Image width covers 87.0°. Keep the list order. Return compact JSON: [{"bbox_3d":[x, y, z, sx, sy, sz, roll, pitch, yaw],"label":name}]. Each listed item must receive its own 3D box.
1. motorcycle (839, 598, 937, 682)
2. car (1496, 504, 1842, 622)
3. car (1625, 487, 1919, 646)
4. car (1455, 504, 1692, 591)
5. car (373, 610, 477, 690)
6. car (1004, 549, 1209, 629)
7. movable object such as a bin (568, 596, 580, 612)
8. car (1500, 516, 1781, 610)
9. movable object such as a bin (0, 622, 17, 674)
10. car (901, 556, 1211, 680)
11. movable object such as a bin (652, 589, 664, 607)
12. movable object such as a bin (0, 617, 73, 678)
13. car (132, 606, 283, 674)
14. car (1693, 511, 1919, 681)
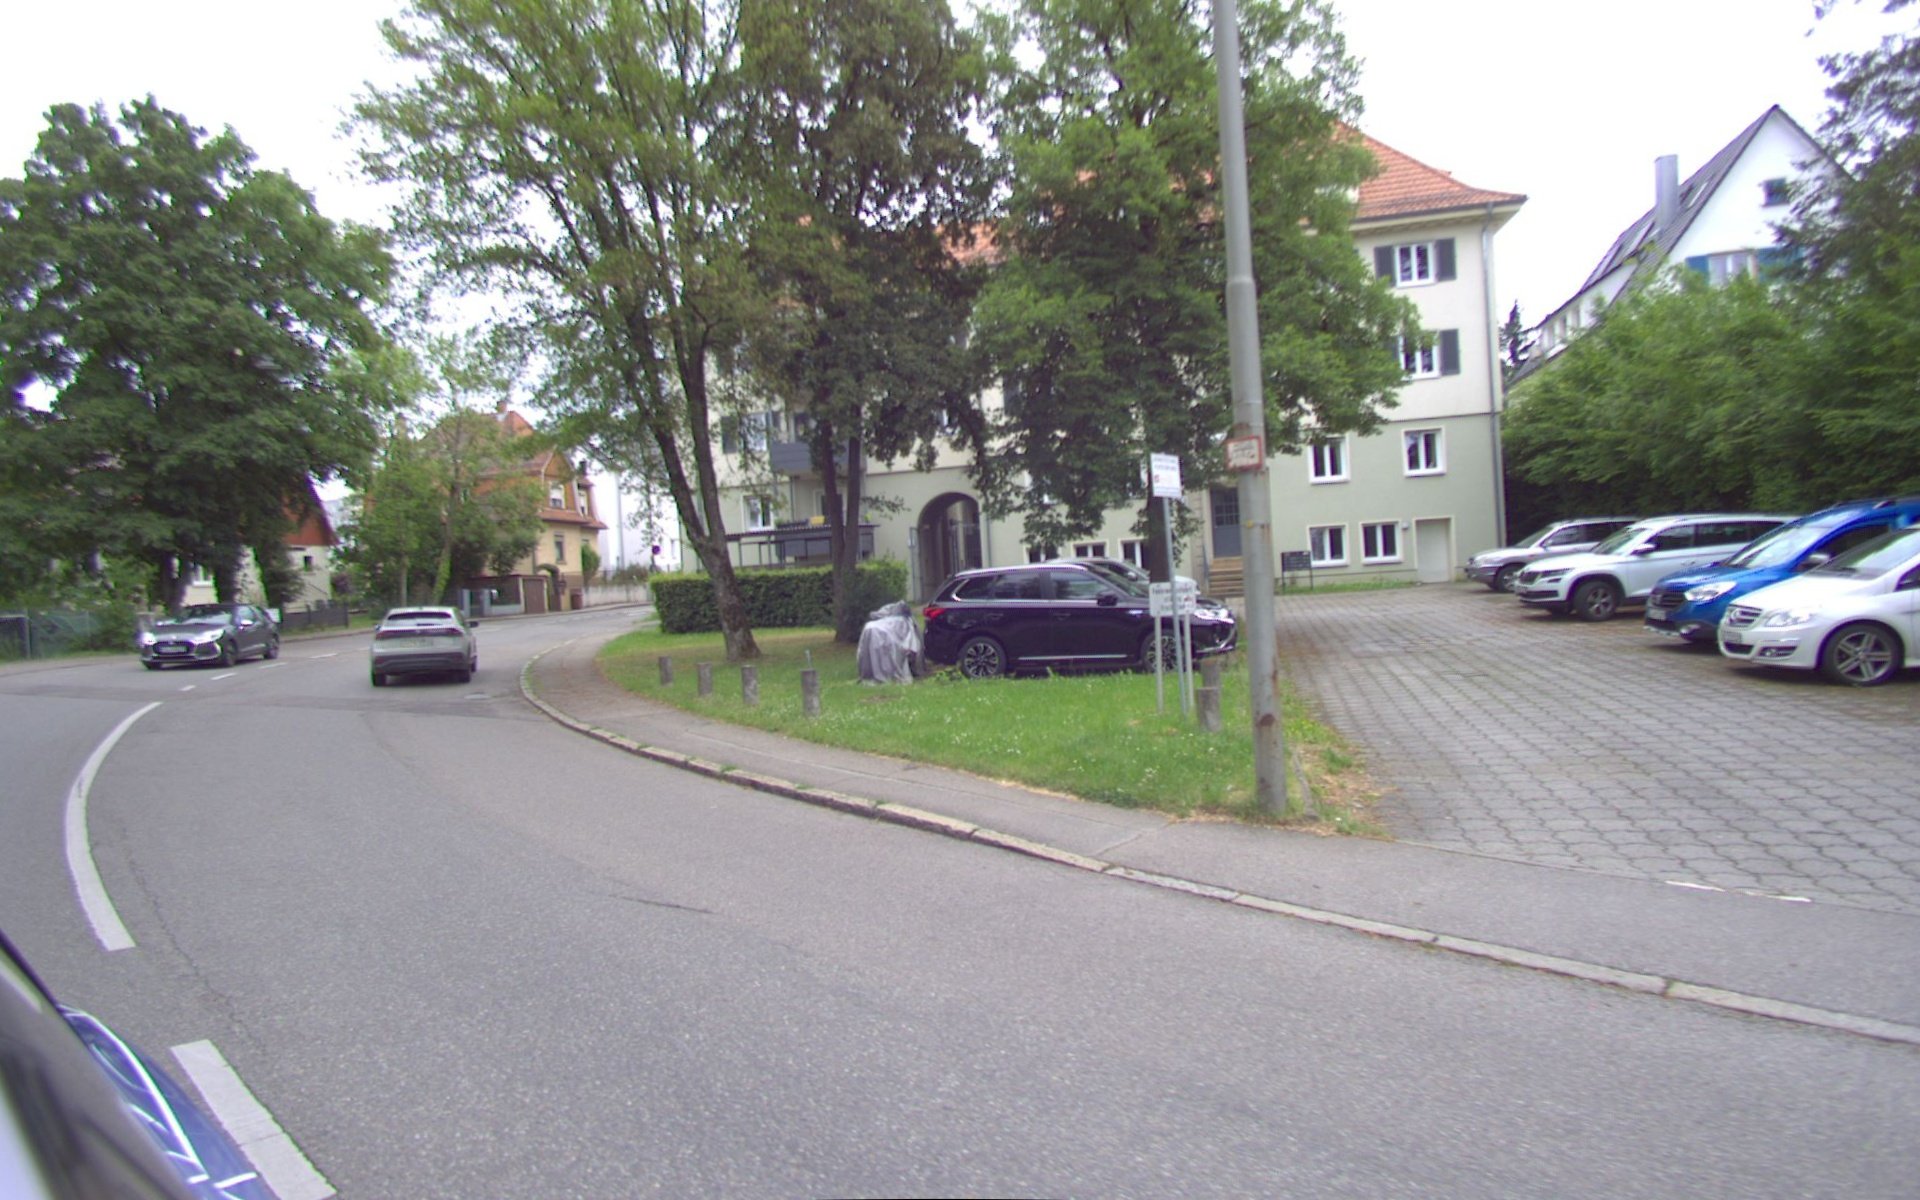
[{"bbox_3d":[-1.096,0.597,15.988,0.857,1.160,2.056,-2,2,16],"label":"motorcycle"},{"bbox_3d":[12.181,-0.616,17.752,4.451,1.690,2.001,-3,1,13],"label":"car"},{"bbox_3d":[11.139,-0.463,12.719,4.219,1.745,1.741,-3,1,12],"label":"car"},{"bbox_3d":[14.844,-1.244,24.791,4.589,1.743,1.737,-3,1,18],"label":"car"},{"bbox_3d":[-10.973,0.941,20.727,1.700,1.468,4.091,1,-1,-29],"label":"car"},{"bbox_3d":[3.486,-0.272,23.949,4.545,1.544,1.949,-3,2,13],"label":"car"},{"bbox_3d":[-22.076,0.234,57.881,0.457,0.931,0.564,0,2,9],"label":"movable object such as a bin"},{"bbox_3d":[13.270,-0.709,20.033,4.161,1.504,1.870,-3,1,16],"label":"car"},{"bbox_3d":[-33.202,1.685,33.187,2.467,1.726,2.207,-3,1,3],"label":"movable object such as a bin"},{"bbox_3d":[1.462,0.256,15.011,4.294,1.605,1.739,-2,1,16],"label":"car"},{"bbox_3d":[-20.302,-0.147,68.038,0.523,1.187,0.633,0,2,9],"label":"movable object such as a bin"},{"bbox_3d":[-30.770,1.542,32.757,2.082,1.800,2.207,-3,1,3],"label":"movable object such as a bin"},{"bbox_3d":[-17.978,0.887,24.387,1.620,1.408,3.792,-1,1,-15],"label":"car"},{"bbox_3d":[10.229,-0.111,10.164,4.236,1.605,1.737,-2,1,18],"label":"car"}]
